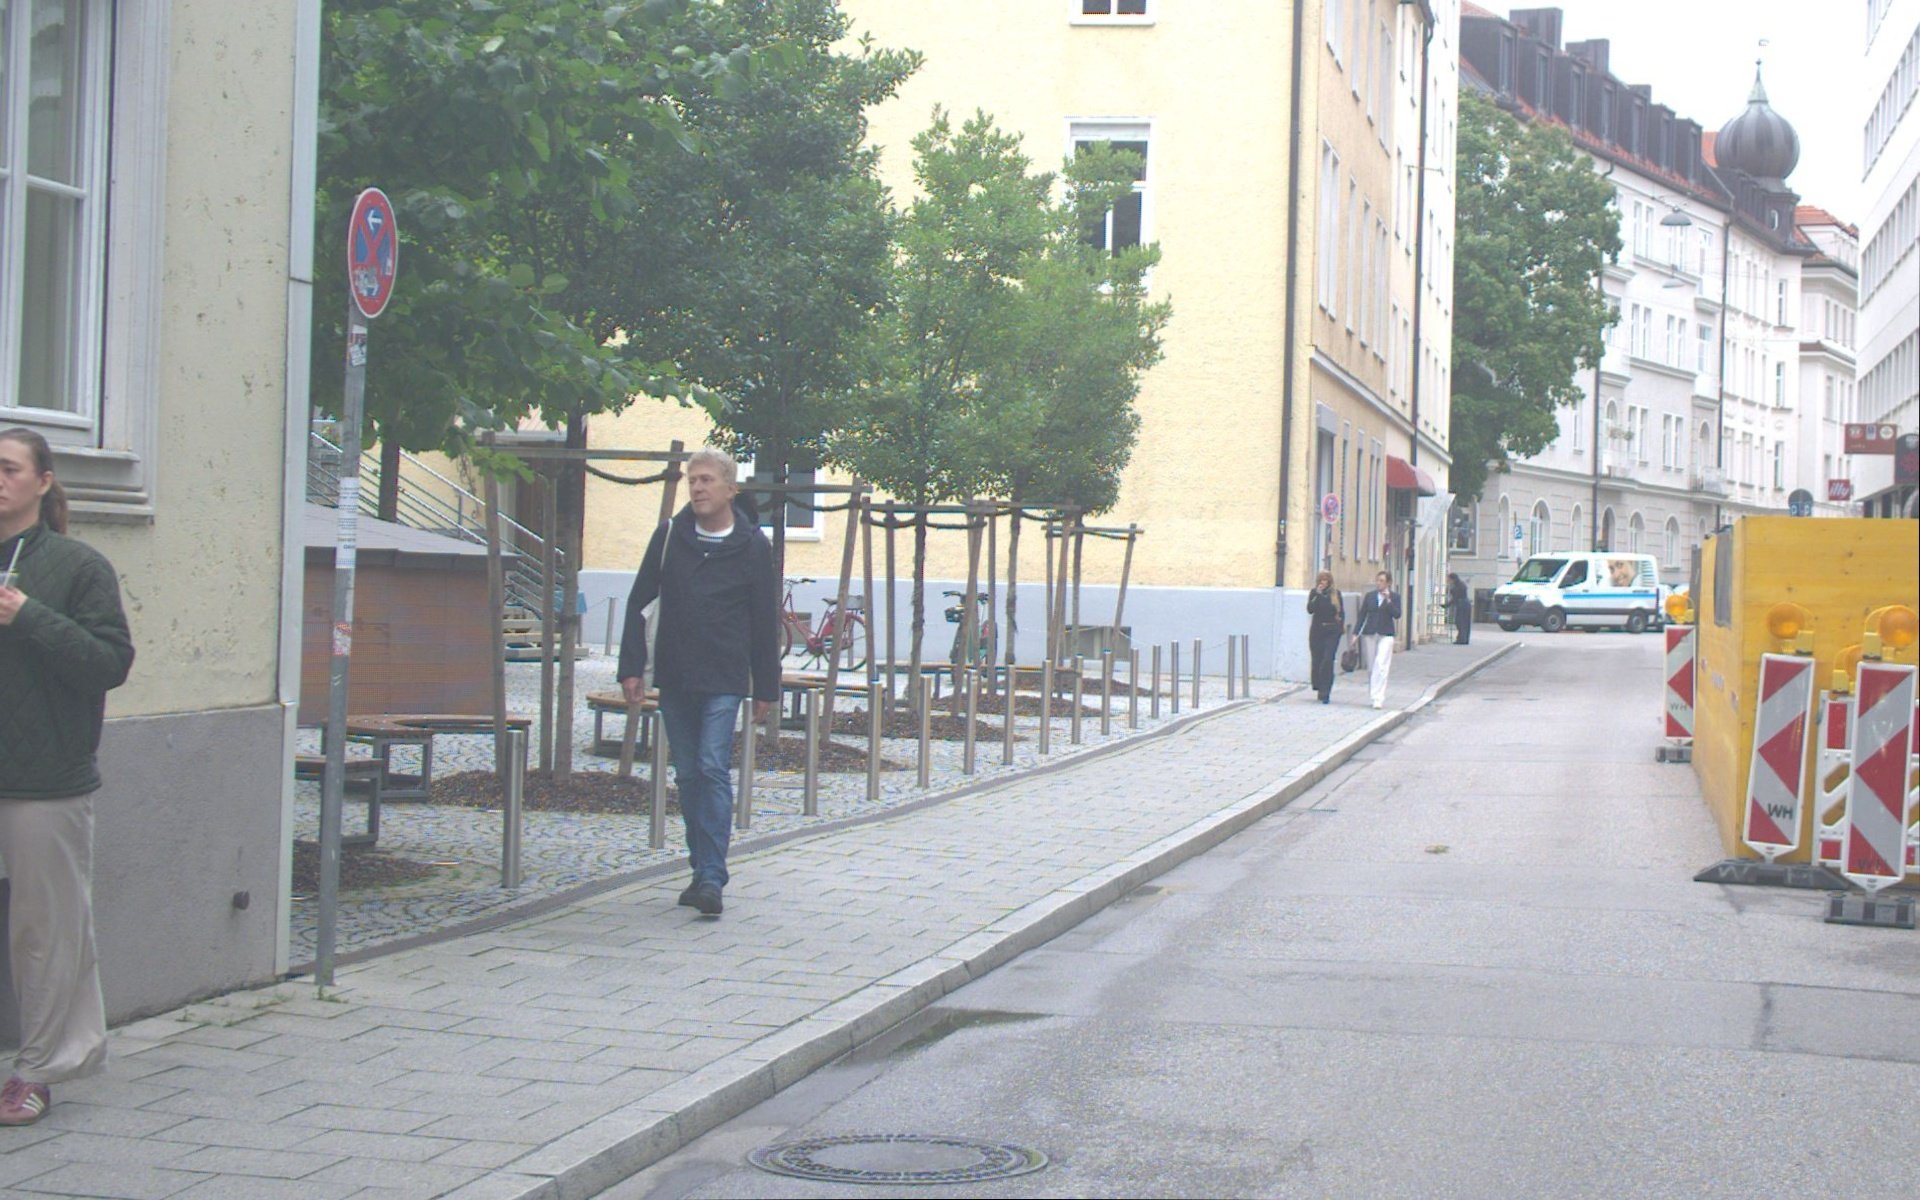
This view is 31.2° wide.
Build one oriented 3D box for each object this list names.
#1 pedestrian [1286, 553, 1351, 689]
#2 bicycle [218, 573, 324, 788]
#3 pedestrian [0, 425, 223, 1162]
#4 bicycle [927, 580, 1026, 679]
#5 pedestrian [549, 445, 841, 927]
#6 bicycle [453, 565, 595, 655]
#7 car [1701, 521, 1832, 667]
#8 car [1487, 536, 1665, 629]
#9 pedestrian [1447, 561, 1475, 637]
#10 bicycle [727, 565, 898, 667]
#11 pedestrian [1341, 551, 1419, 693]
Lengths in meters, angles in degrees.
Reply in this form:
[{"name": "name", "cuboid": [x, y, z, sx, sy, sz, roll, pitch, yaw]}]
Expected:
[{"name": "pedestrian", "cuboid": [4.453, 0.255, 42.677, 0.670, 1.642, 0.761, 3, 0, 10]}, {"name": "bicycle", "cuboid": [-4.156, 0.456, 20.738, 0.550, 1.193, 1.838, 2, 1, -11]}, {"name": "pedestrian", "cuboid": [-2.247, 0.429, 8.232, 0.647, 1.670, 0.723, 3, 0, 10]}, {"name": "bicycle", "cuboid": [0.213, 0.345, 41.345, 0.510, 1.141, 2.050, 3, 1, 19]}, {"name": "pedestrian", "cuboid": [-1.077, 0.337, 14.234, 0.868, 1.875, 1.134, 3, 0, 10]}, {"name": "bicycle", "cuboid": [-5.605, 0.126, 44.180, 1.657, 1.065, 0.597, 3, 1, 15]}, {"name": "car", "cuboid": [14.936, -0.129, 63.910, 1.994, 2.528, 4.973, 3, 1, 10]}, {"name": "car", "cuboid": [17.409, -0.482, 97.040, 4.978, 2.390, 2.000, 2, 1, -37]}, {"name": "pedestrian", "cuboid": [11.166, -0.029, 76.611, 0.516, 1.669, 0.636, 3, 1, 6]}, {"name": "bicycle", "cuboid": [-1.876, 0.202, 43.717, 2.045, 1.193, 0.569, 3, 1, 18]}, {"name": "pedestrian", "cuboid": [5.194, 0.268, 42.480, 0.839, 1.695, 0.802, 3, 0, 11]}]
